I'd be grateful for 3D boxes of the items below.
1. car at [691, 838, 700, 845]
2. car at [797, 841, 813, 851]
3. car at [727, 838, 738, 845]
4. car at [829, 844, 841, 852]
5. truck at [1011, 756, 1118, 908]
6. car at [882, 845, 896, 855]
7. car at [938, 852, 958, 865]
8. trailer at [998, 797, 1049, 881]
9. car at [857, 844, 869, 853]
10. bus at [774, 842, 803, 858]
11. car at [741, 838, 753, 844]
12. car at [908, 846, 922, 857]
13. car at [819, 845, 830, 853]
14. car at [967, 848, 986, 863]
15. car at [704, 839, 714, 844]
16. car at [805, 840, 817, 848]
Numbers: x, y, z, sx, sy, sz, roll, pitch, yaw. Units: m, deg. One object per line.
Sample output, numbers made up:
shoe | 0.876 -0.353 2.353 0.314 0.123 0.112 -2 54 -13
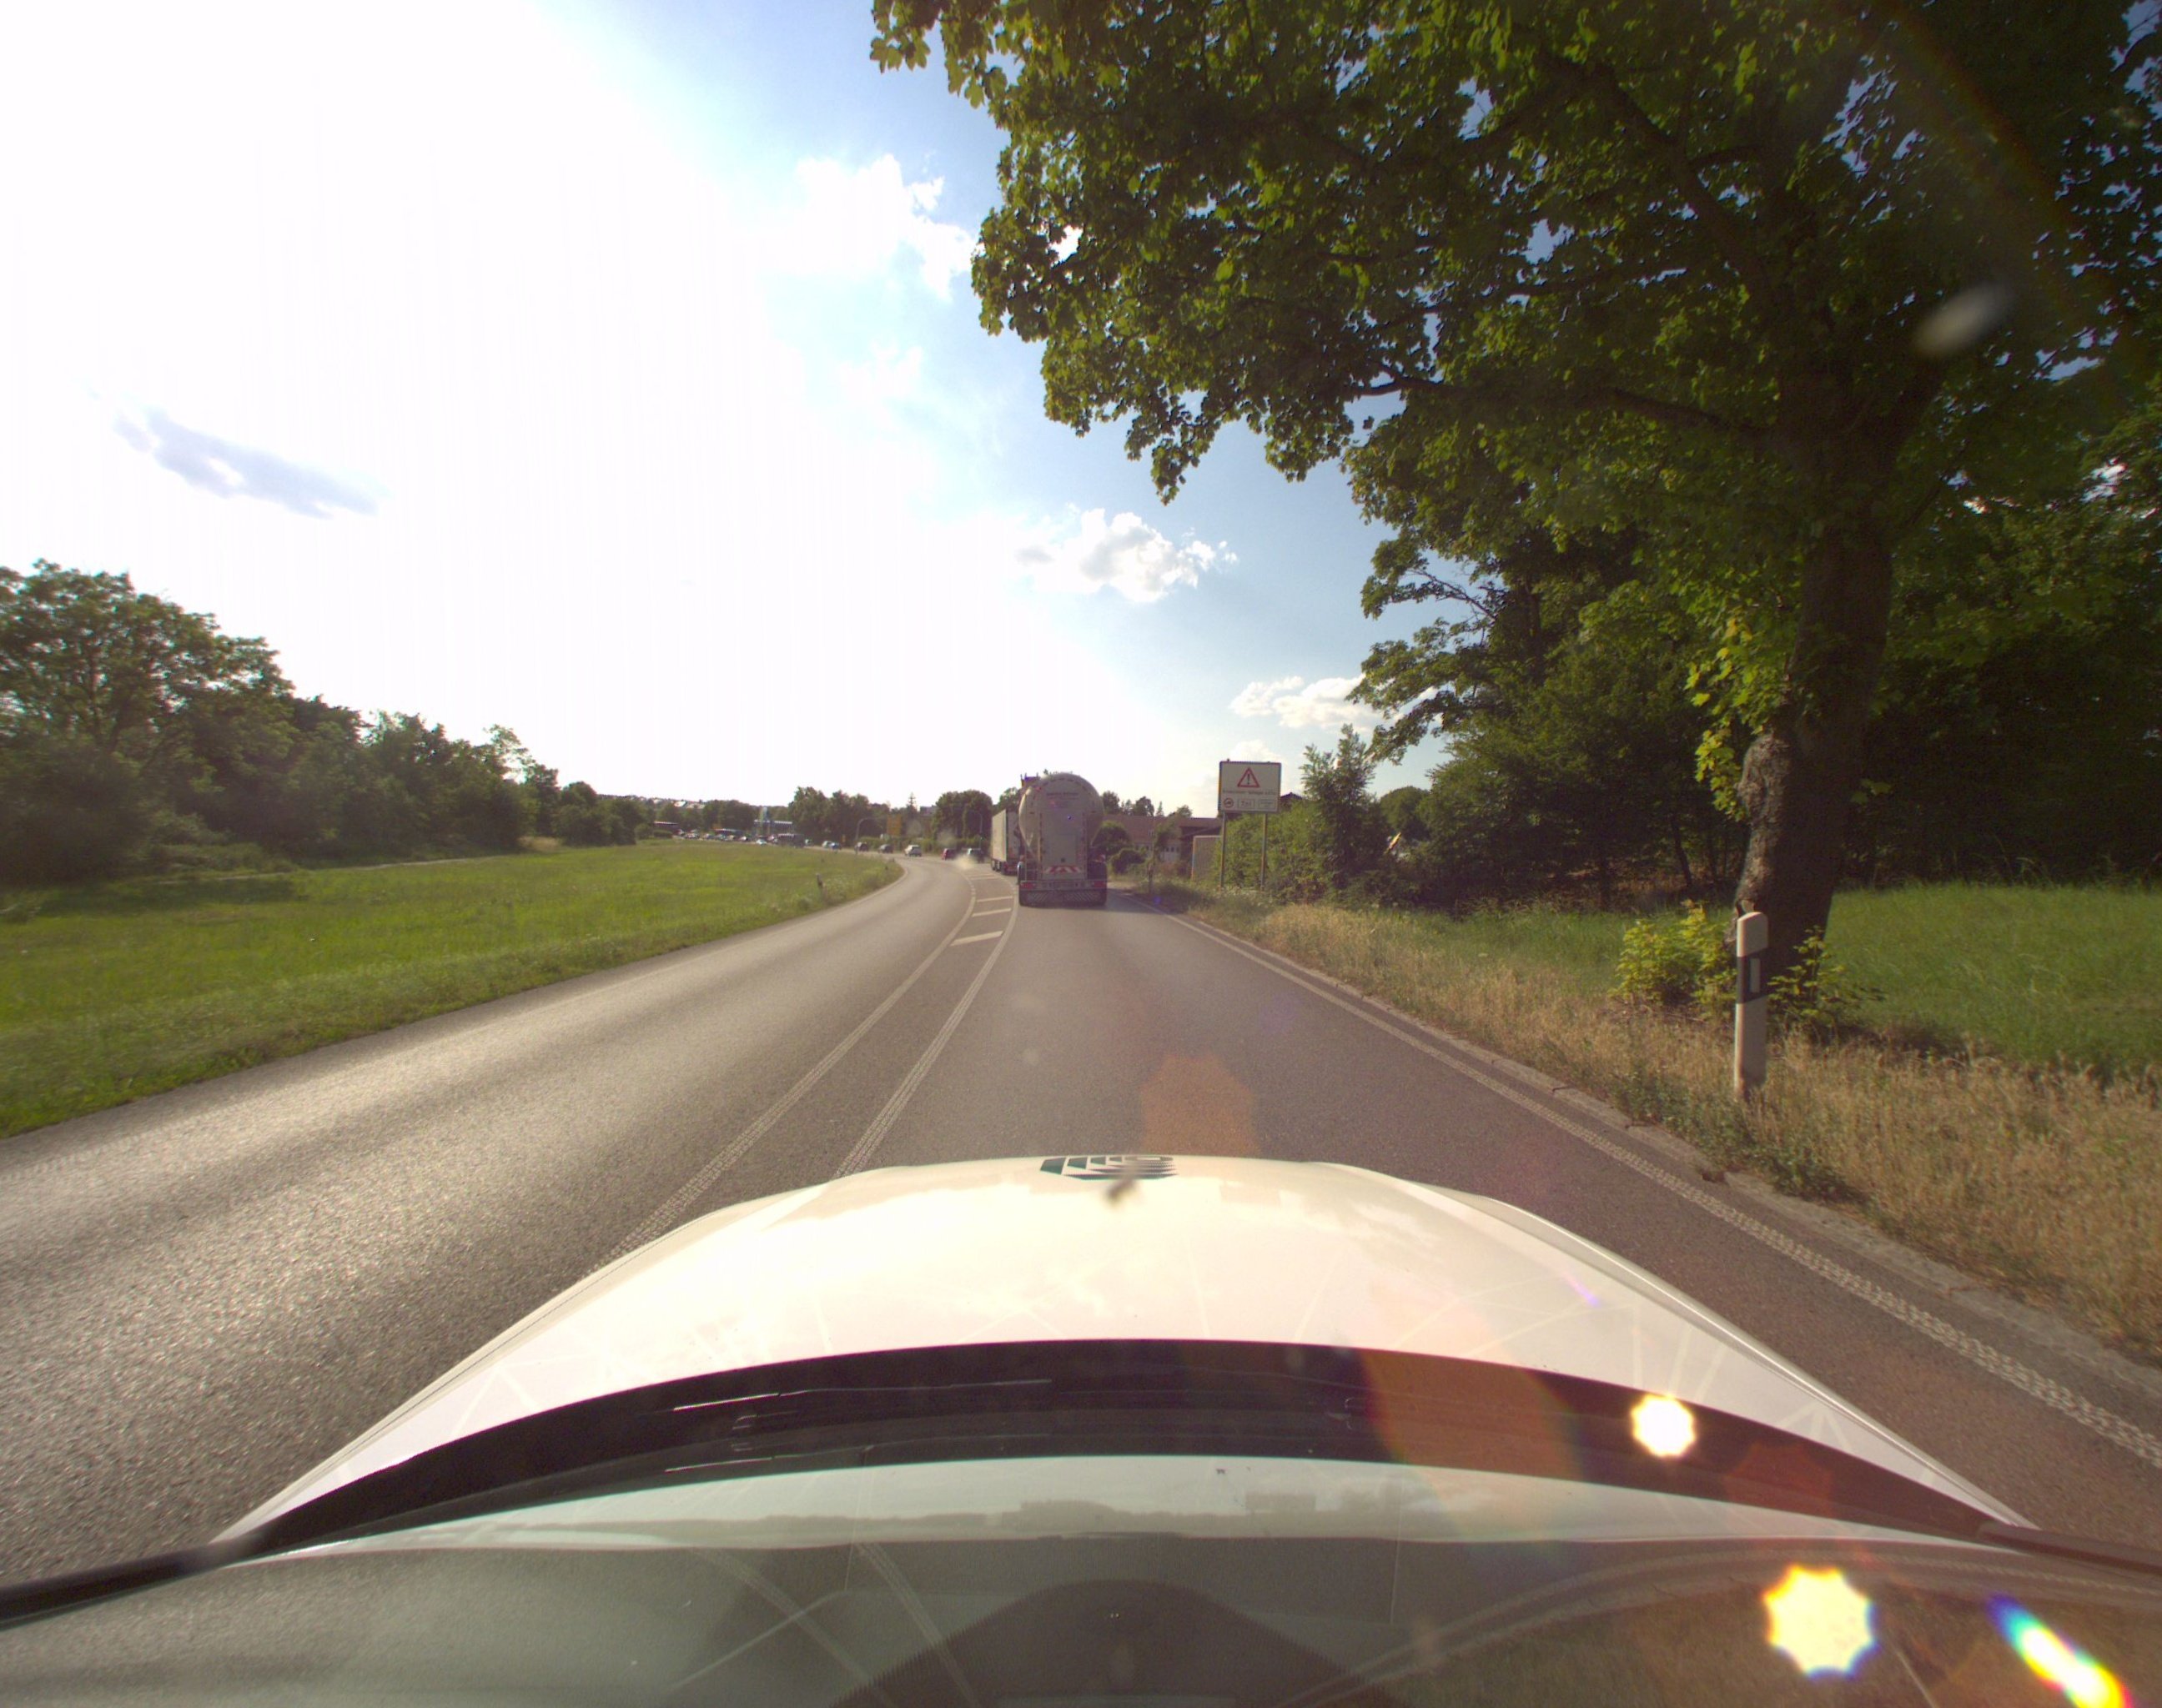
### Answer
car | -103.949 -3.302 219.526 1.854 1.656 3.959 0 -1 -32
car | -49.631 -1.443 146.262 1.854 1.656 3.959 0 -1 -32
car | -93.070 -3.355 217.636 1.895 1.599 3.958 0 1 -34
car | -50.423 -1.192 166.996 1.689 1.559 3.836 0 -1 -29
truck | -0.815 -0.551 28.329 2.970 4.175 11.646 0 -1 -4
car | -33.296 -0.749 141.226 1.526 1.656 3.841 0 -1 -25
car | -17.174 0.640 104.959 2.301 1.656 4.397 0 -1 -12
trailer | -3.525 -0.831 52.183 2.957 4.882 10.278 0 -1 -2
car | -41.070 -1.019 153.141 1.526 1.656 3.841 0 -1 -25
bus | -60.213 -0.834 167.658 2.814 3.181 11.999 0 -1 -34
car | -87.647 -3.340 213.815 2.100 1.599 3.958 0 1 -34
car | -25.323 -0.413 123.868 1.844 1.656 3.979 0 -1 -15
car | -56.046 -1.043 177.826 1.689 1.559 3.836 0 -1 -29
car | -11.242 0.165 87.765 1.992 1.656 3.989 0 -1 -8
car | -104.457 -3.489 228.431 1.895 1.599 3.958 0 1 -34
car | -63.469 -2.325 191.265 1.988 1.656 3.836 0 -1 -29
